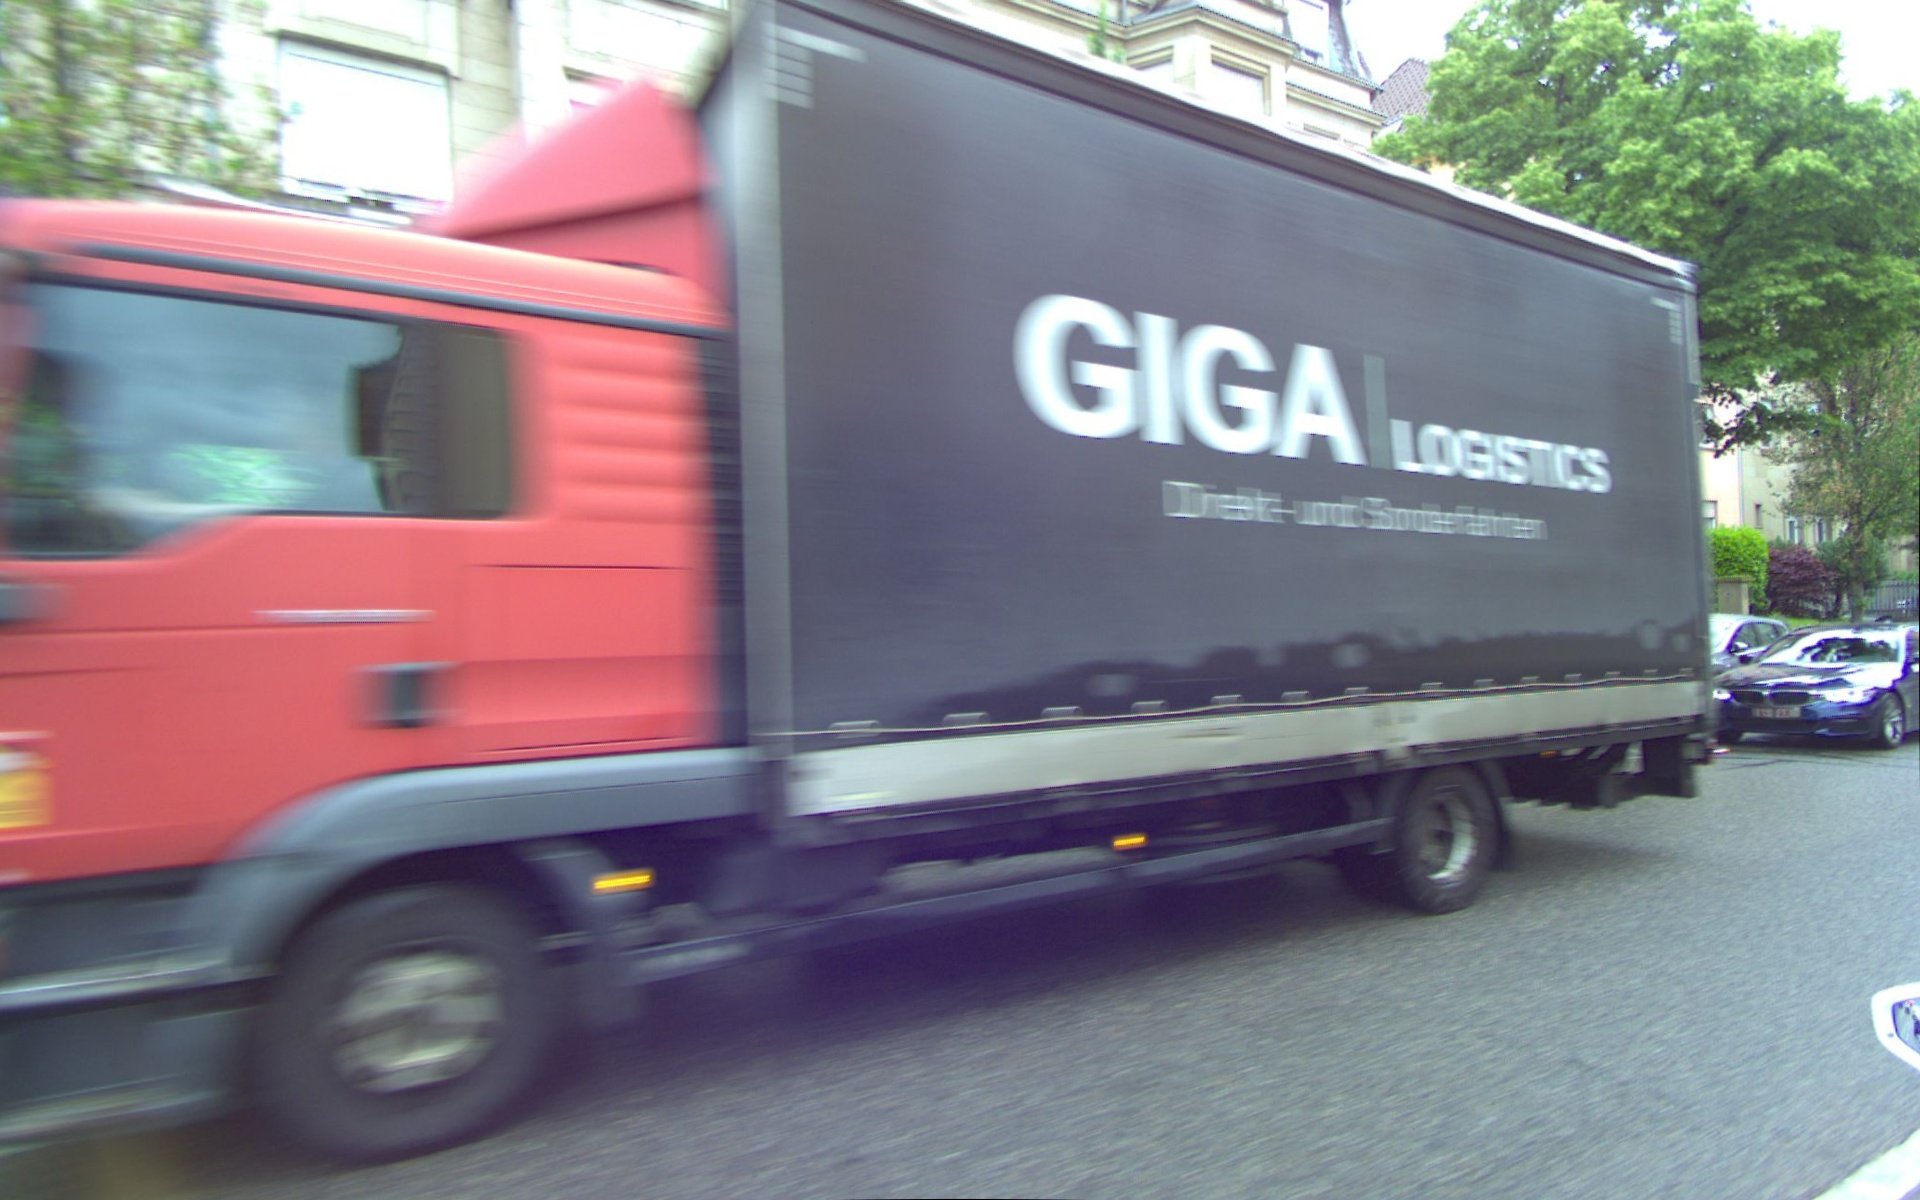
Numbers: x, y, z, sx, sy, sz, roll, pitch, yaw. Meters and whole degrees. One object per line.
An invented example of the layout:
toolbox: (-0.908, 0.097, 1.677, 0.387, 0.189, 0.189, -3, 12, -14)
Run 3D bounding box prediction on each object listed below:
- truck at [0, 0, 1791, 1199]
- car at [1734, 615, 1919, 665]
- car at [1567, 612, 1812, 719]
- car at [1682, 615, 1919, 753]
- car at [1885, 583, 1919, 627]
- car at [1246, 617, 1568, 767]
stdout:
truck: (0.855, -0.300, 5.467, 9.200, 3.904, 2.635, 1, -3, -31)
car: (25.888, 1.174, 30.022, 1.816, 1.344, 3.968, 0, -2, -31)
car: (12.302, 1.042, 16.890, 4.251, 1.580, 1.733, 1, 0, -30)
car: (11.631, 0.976, 13.196, 4.693, 1.487, 1.763, 0, -2, -31)
car: (48.087, 0.352, 48.454, 1.992, 2.077, 4.662, 0, 4, -15)
car: (5.826, 1.073, 12.938, 4.256, 1.580, 1.731, 1, 1, -33)
